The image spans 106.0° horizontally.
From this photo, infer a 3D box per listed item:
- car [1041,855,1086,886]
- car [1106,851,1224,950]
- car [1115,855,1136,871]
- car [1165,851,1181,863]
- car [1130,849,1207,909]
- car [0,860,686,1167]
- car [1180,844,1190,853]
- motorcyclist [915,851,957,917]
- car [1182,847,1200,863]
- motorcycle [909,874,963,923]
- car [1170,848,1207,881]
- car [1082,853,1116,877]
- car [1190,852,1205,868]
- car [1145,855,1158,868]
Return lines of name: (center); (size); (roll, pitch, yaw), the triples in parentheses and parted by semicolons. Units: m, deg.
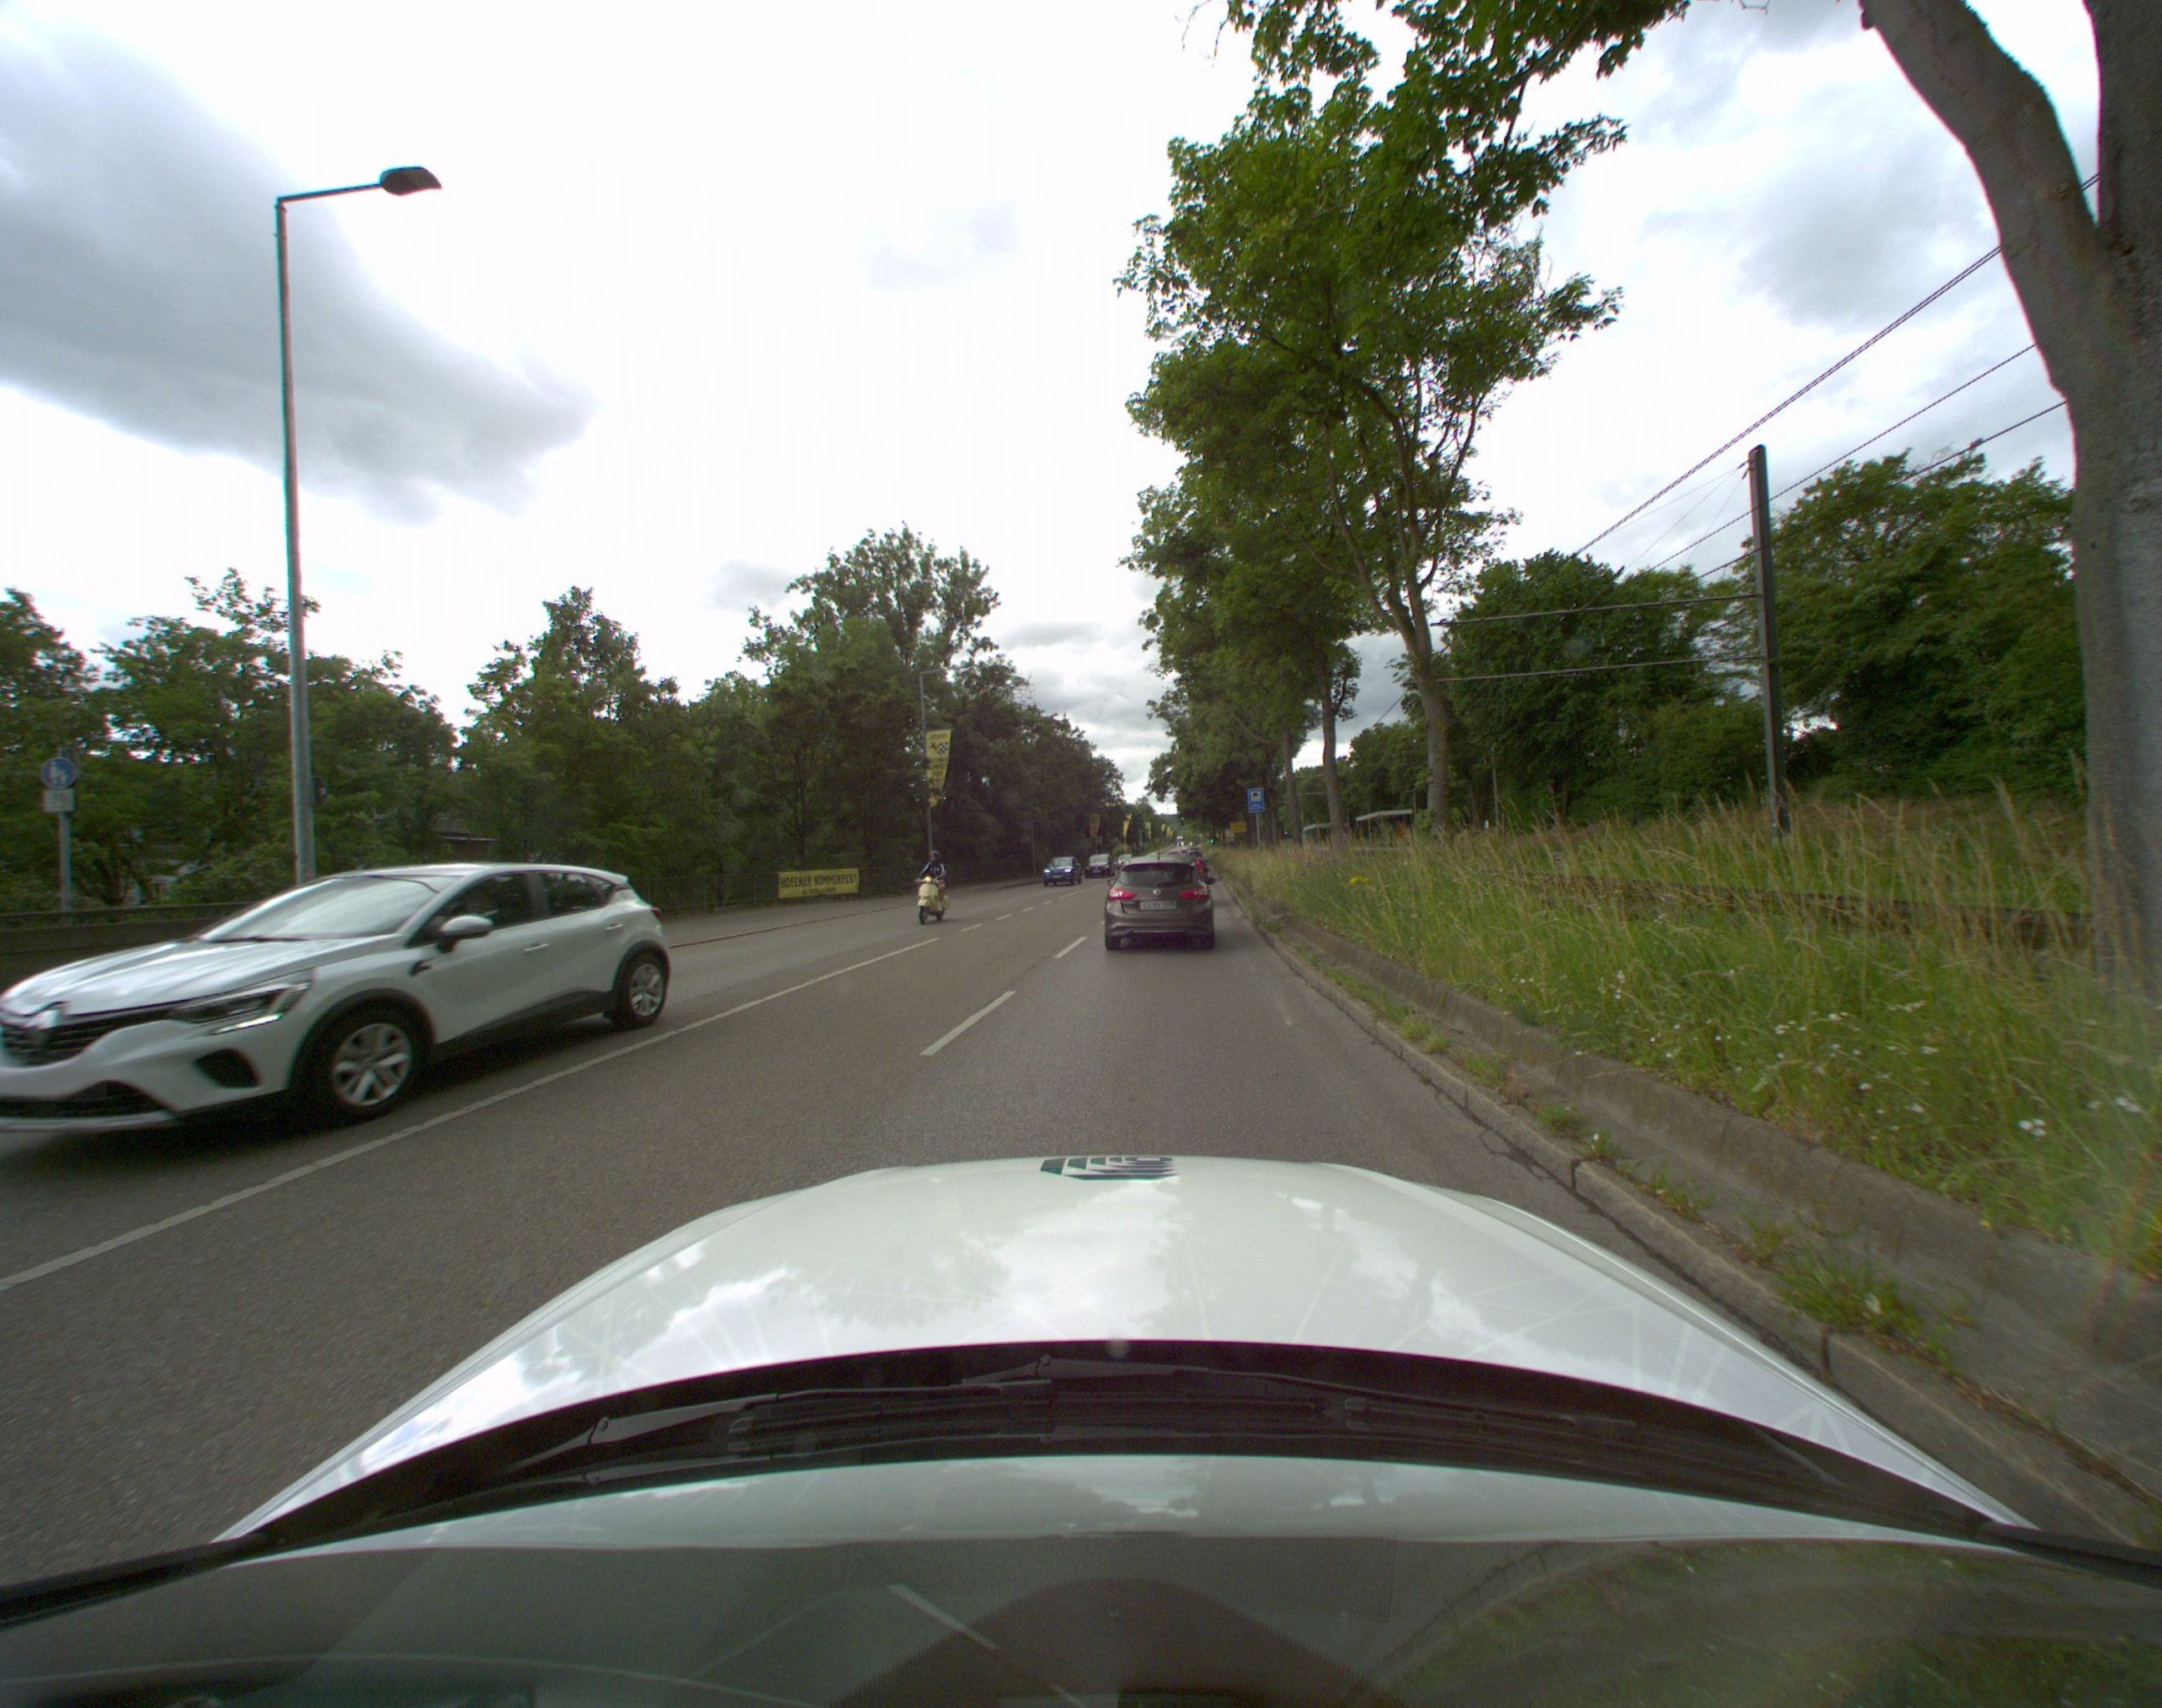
car: (-0.901, 0.903, 43.254); (1.711, 1.442, 4.008); (-3, -2, 8)
car: (1.374, 0.756, 14.473); (1.767, 1.494, 4.002); (-1, -1, 2)
car: (4.478, 0.900, 82.037); (1.743, 1.420, 4.007); (-3, -2, 7)
car: (12.544, 0.389, 111.187); (1.840, 1.486, 4.432); (-3, -1, 9)
car: (2.497, 0.721, 24.133); (1.886, 1.574, 4.000); (-2, -1, 1)
car: (-4.980, 0.831, 6.095); (1.758, 1.479, 4.006); (-2, 0, 5)
car: (18.478, -1.004, 144.967); (1.709, 1.401, 3.733); (-3, -2, 7)
motorcyclist: (-3.497, 0.721, 19.676); (0.741, 1.539, 0.792); (-2, 0, 7)
car: (11.286, 0.117, 83.265); (1.794, 1.540, 4.009); (-1, -1, 9)
motorcycle: (-3.478, 1.049, 19.664); (0.741, 1.033, 1.891); (-2, 0, 6)
car: (5.476, 0.551, 41.910); (1.571, 1.538, 4.004); (-3, -1, 4)
car: (1.273, 0.736, 55.305); (1.807, 1.462, 4.009); (-3, 0, 8)
car: (14.128, 0.760, 98.921); (1.709, 1.693, 4.007); (-3, -2, 7)
car: (10.403, 1.093, 119.683); (1.709, 1.693, 3.733); (-3, -2, 7)
